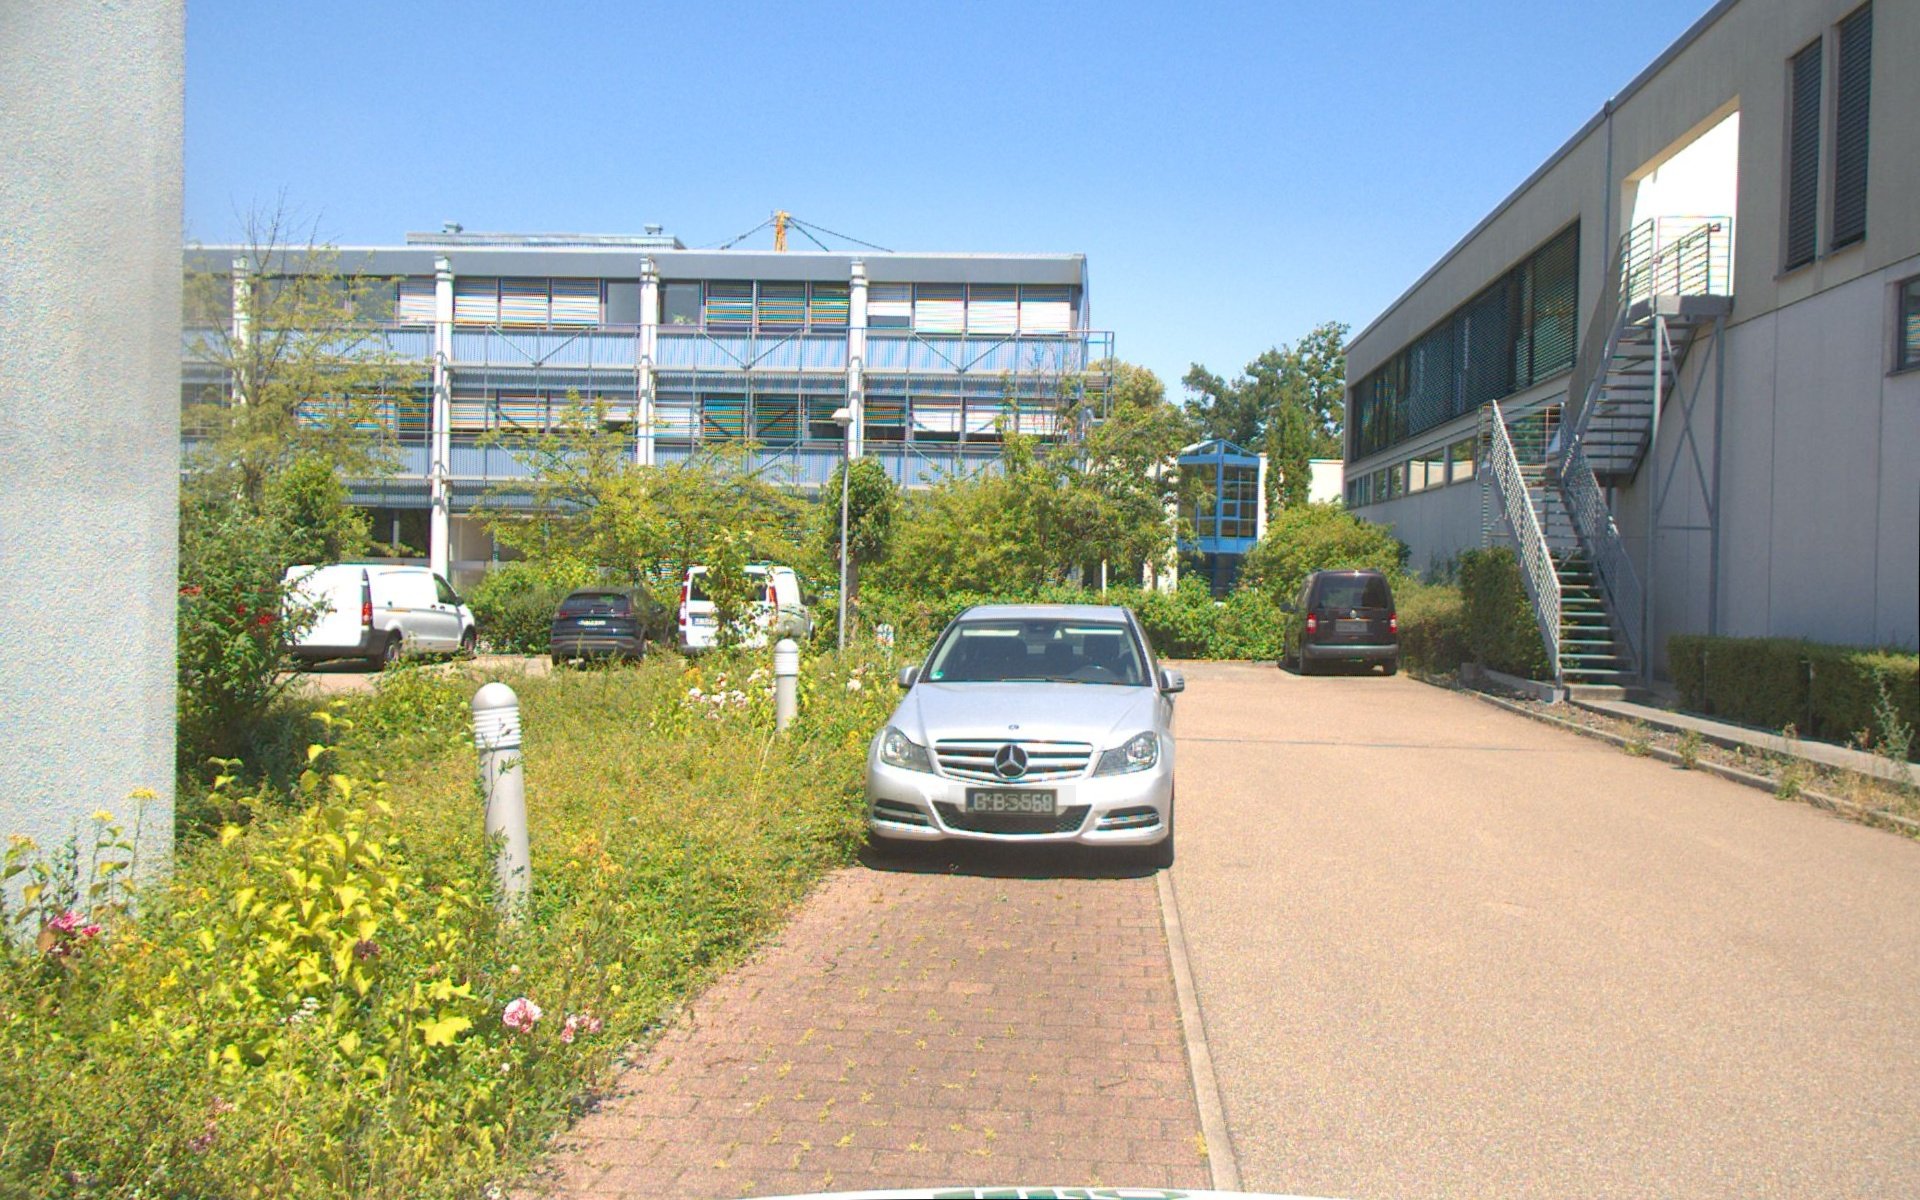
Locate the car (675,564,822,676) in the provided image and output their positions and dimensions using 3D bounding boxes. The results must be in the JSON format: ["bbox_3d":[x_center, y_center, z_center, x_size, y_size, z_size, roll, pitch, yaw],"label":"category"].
[{"bbox_3d":[-3.862,0.294,31.039,1.873,1.938,4.811,0,1,3],"label":"car"}]

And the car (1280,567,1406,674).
[{"bbox_3d":[7.083,0.333,30.928,1.706,1.869,4.002,0,1,4],"label":"car"}]

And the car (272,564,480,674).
[{"bbox_3d":[-10.979,0.273,31.515,1.842,1.924,4.807,0,1,6],"label":"car"}]

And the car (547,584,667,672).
[{"bbox_3d":[-6.695,0.477,31.696,1.720,1.502,3.997,0,1,-5],"label":"car"}]

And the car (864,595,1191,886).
[{"bbox_3d":[0.605,0.712,10.616,1.692,1.482,4.151,0,0,7],"label":"car"}]
